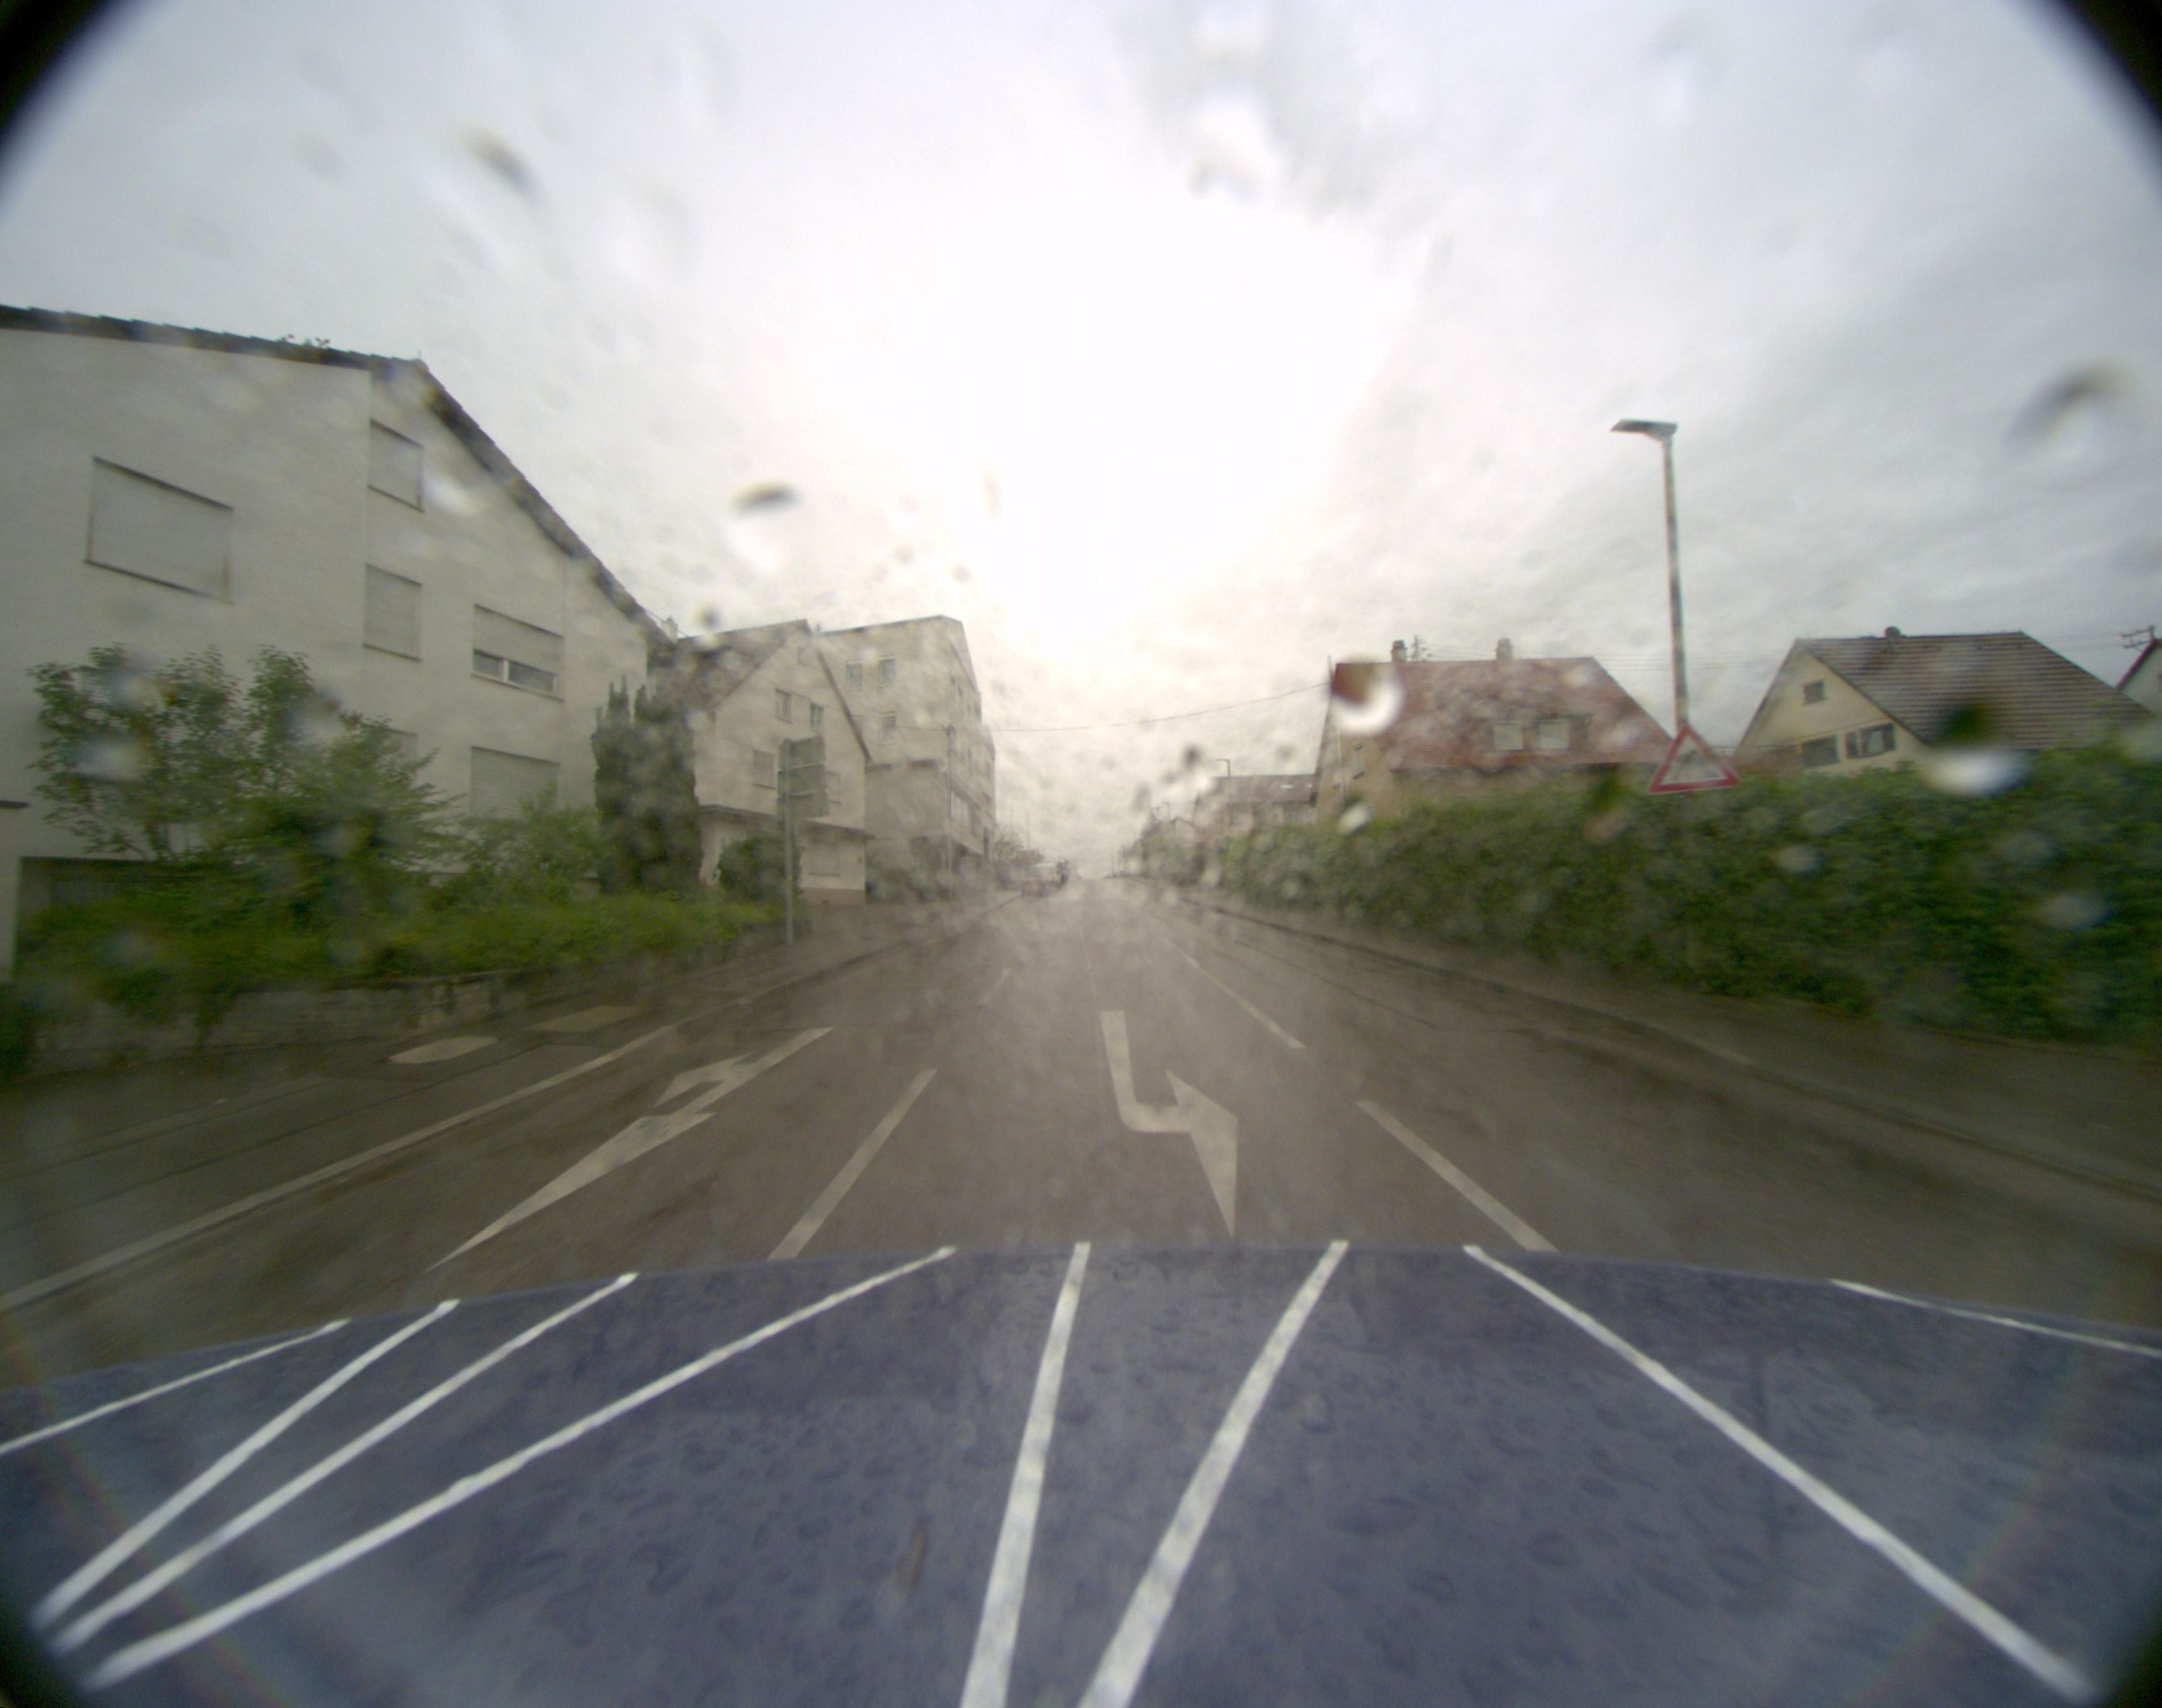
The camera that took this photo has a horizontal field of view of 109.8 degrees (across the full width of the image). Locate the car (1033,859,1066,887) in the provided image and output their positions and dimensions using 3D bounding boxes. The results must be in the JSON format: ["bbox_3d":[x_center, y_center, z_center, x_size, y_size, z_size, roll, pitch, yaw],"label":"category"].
[{"bbox_3d":[-2.268,1.371,55.957,1.998,1.923,4.977,-1,-1,1],"label":"car"}]

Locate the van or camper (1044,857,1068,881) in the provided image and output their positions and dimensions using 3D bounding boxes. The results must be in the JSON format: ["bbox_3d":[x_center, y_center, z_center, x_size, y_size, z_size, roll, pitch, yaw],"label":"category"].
[{"bbox_3d":[-2.216,1.332,69.731,1.998,2.100,5.203,-1,-1,0],"label":"van or camper"}]

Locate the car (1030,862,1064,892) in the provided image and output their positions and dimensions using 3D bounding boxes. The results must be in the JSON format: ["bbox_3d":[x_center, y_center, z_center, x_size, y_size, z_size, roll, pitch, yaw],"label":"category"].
[{"bbox_3d":[-2.204,1.484,50.177,1.883,1.823,4.489,-1,-1,1],"label":"car"}]

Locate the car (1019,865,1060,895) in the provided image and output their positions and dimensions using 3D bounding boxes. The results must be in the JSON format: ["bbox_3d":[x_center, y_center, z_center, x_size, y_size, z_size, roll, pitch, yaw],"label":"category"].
[{"bbox_3d":[-2.416,1.503,44.949,1.998,1.634,4.959,-1,-1,1],"label":"car"}]

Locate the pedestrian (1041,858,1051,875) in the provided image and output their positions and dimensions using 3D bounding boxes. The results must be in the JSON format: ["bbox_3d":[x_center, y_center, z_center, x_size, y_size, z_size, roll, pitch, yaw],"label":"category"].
[{"bbox_3d":[-3.782,1.372,81.187,1.026,1.747,1.031,0,-2,-2],"label":"pedestrian"}]
